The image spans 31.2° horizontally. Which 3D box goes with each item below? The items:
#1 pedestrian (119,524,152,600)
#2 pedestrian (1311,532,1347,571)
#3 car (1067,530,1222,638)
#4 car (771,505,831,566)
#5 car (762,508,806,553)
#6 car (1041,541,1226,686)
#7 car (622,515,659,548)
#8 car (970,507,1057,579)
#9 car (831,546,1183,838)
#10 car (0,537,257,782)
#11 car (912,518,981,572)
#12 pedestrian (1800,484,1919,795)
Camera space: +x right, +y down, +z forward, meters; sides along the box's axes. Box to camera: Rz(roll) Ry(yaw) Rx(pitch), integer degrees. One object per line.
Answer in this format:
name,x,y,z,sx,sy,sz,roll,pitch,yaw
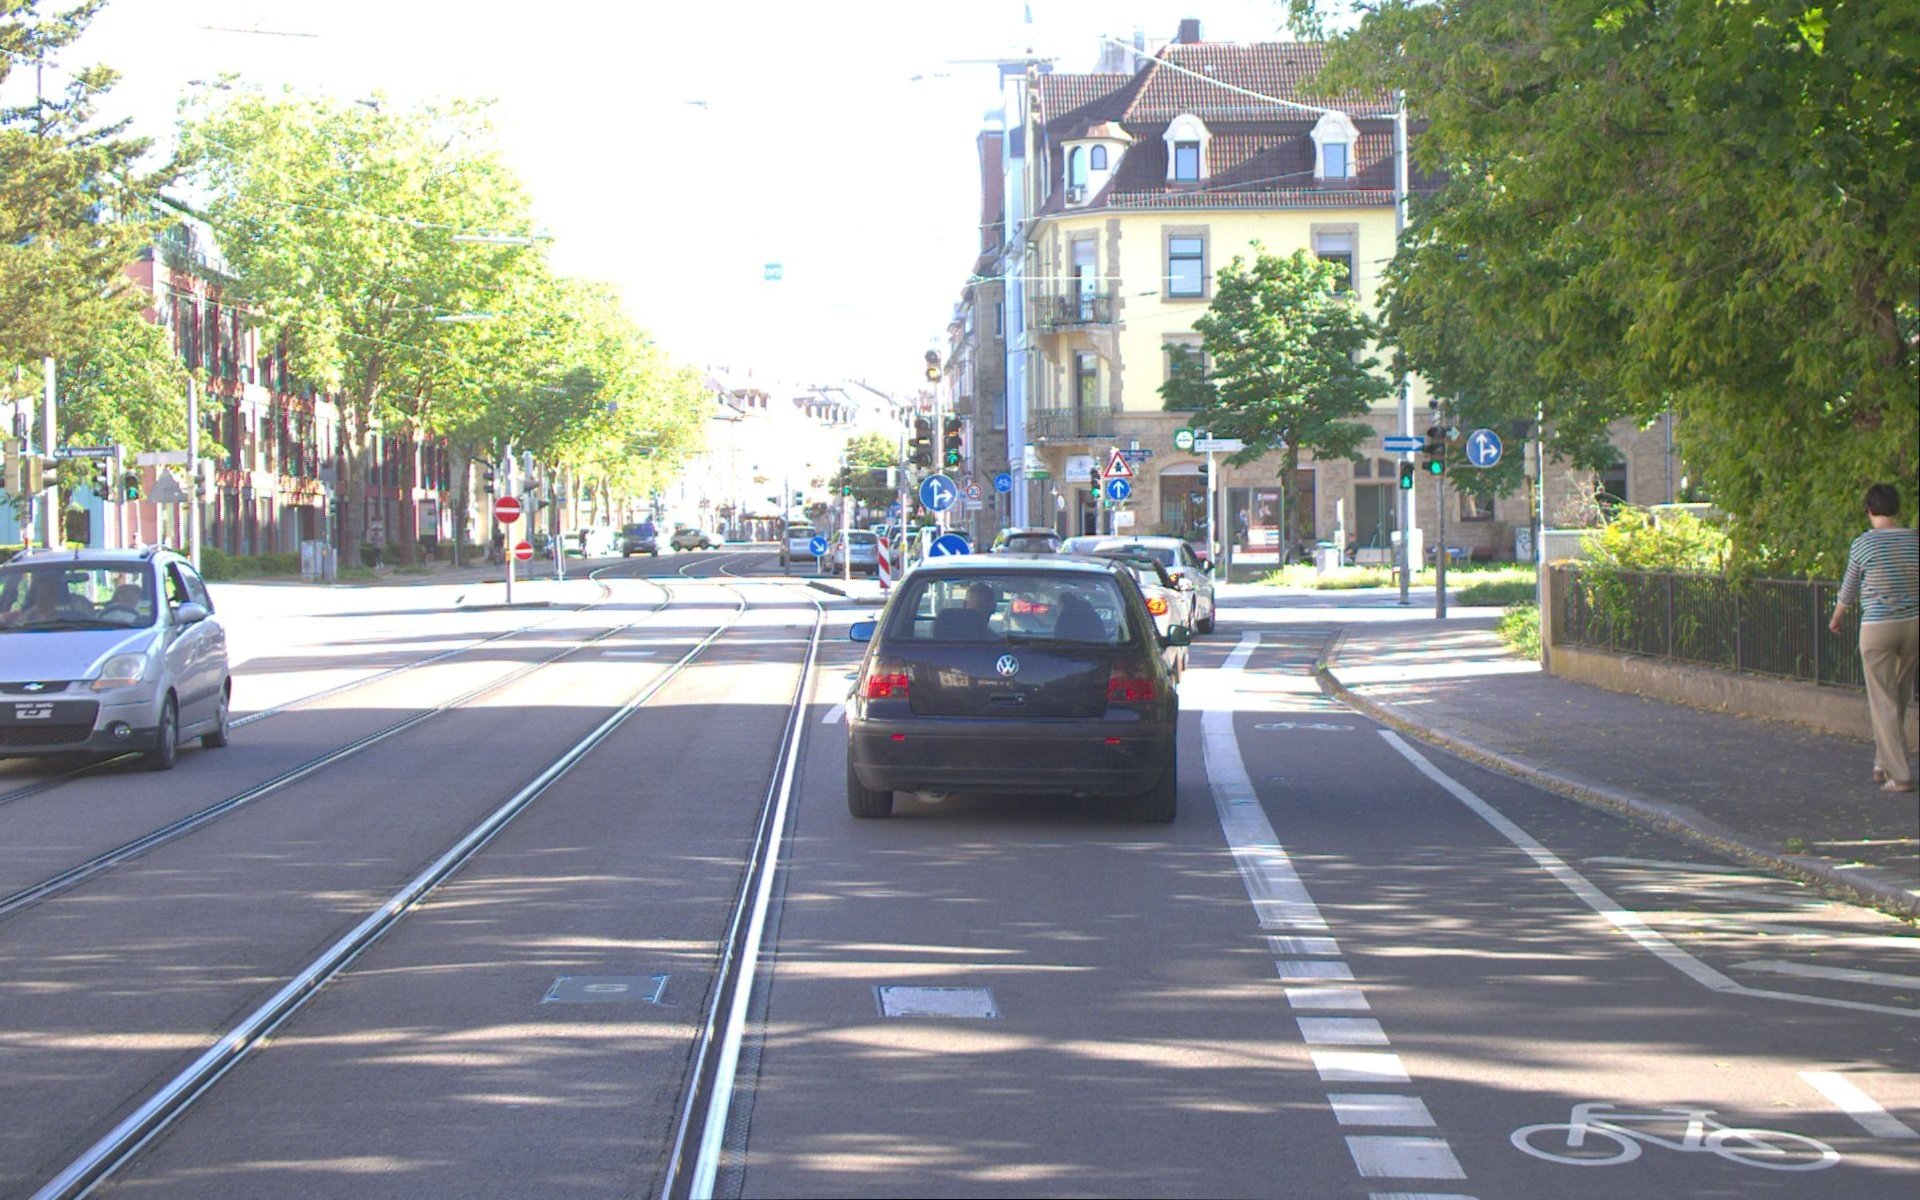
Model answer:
pedestrian,-18.605,-0.852,77.563,0.609,1.684,0.734,1,2,-20
pedestrian,11.338,-1.494,105.656,0.979,1.183,0.743,-1,1,-2
car,2.681,-0.257,49.275,1.740,1.436,3.808,-1,1,10
car,-4.975,-2.017,107.247,1.787,1.853,4.001,0,1,-4
car,-7.531,-2.963,146.812,1.787,1.853,4.001,-1,1,-3
car,1.757,0.103,35.728,1.634,1.367,3.757,-1,1,-1
car,-17.992,-3.874,193.648,1.971,1.809,4.298,-1,1,-6
car,1.152,-1.231,75.520,1.569,1.307,3.499,-1,-3,-4
car,0.339,0.419,18.955,1.716,1.398,4.006,1,1,3
car,-5.827,0.345,23.041,1.575,1.472,3.441,-2,1,-2
car,-0.397,-1.527,95.233,1.681,1.448,3.380,-1,1,-4
pedestrian,5.210,0.201,19.235,0.717,1.682,0.870,-2,1,-3
